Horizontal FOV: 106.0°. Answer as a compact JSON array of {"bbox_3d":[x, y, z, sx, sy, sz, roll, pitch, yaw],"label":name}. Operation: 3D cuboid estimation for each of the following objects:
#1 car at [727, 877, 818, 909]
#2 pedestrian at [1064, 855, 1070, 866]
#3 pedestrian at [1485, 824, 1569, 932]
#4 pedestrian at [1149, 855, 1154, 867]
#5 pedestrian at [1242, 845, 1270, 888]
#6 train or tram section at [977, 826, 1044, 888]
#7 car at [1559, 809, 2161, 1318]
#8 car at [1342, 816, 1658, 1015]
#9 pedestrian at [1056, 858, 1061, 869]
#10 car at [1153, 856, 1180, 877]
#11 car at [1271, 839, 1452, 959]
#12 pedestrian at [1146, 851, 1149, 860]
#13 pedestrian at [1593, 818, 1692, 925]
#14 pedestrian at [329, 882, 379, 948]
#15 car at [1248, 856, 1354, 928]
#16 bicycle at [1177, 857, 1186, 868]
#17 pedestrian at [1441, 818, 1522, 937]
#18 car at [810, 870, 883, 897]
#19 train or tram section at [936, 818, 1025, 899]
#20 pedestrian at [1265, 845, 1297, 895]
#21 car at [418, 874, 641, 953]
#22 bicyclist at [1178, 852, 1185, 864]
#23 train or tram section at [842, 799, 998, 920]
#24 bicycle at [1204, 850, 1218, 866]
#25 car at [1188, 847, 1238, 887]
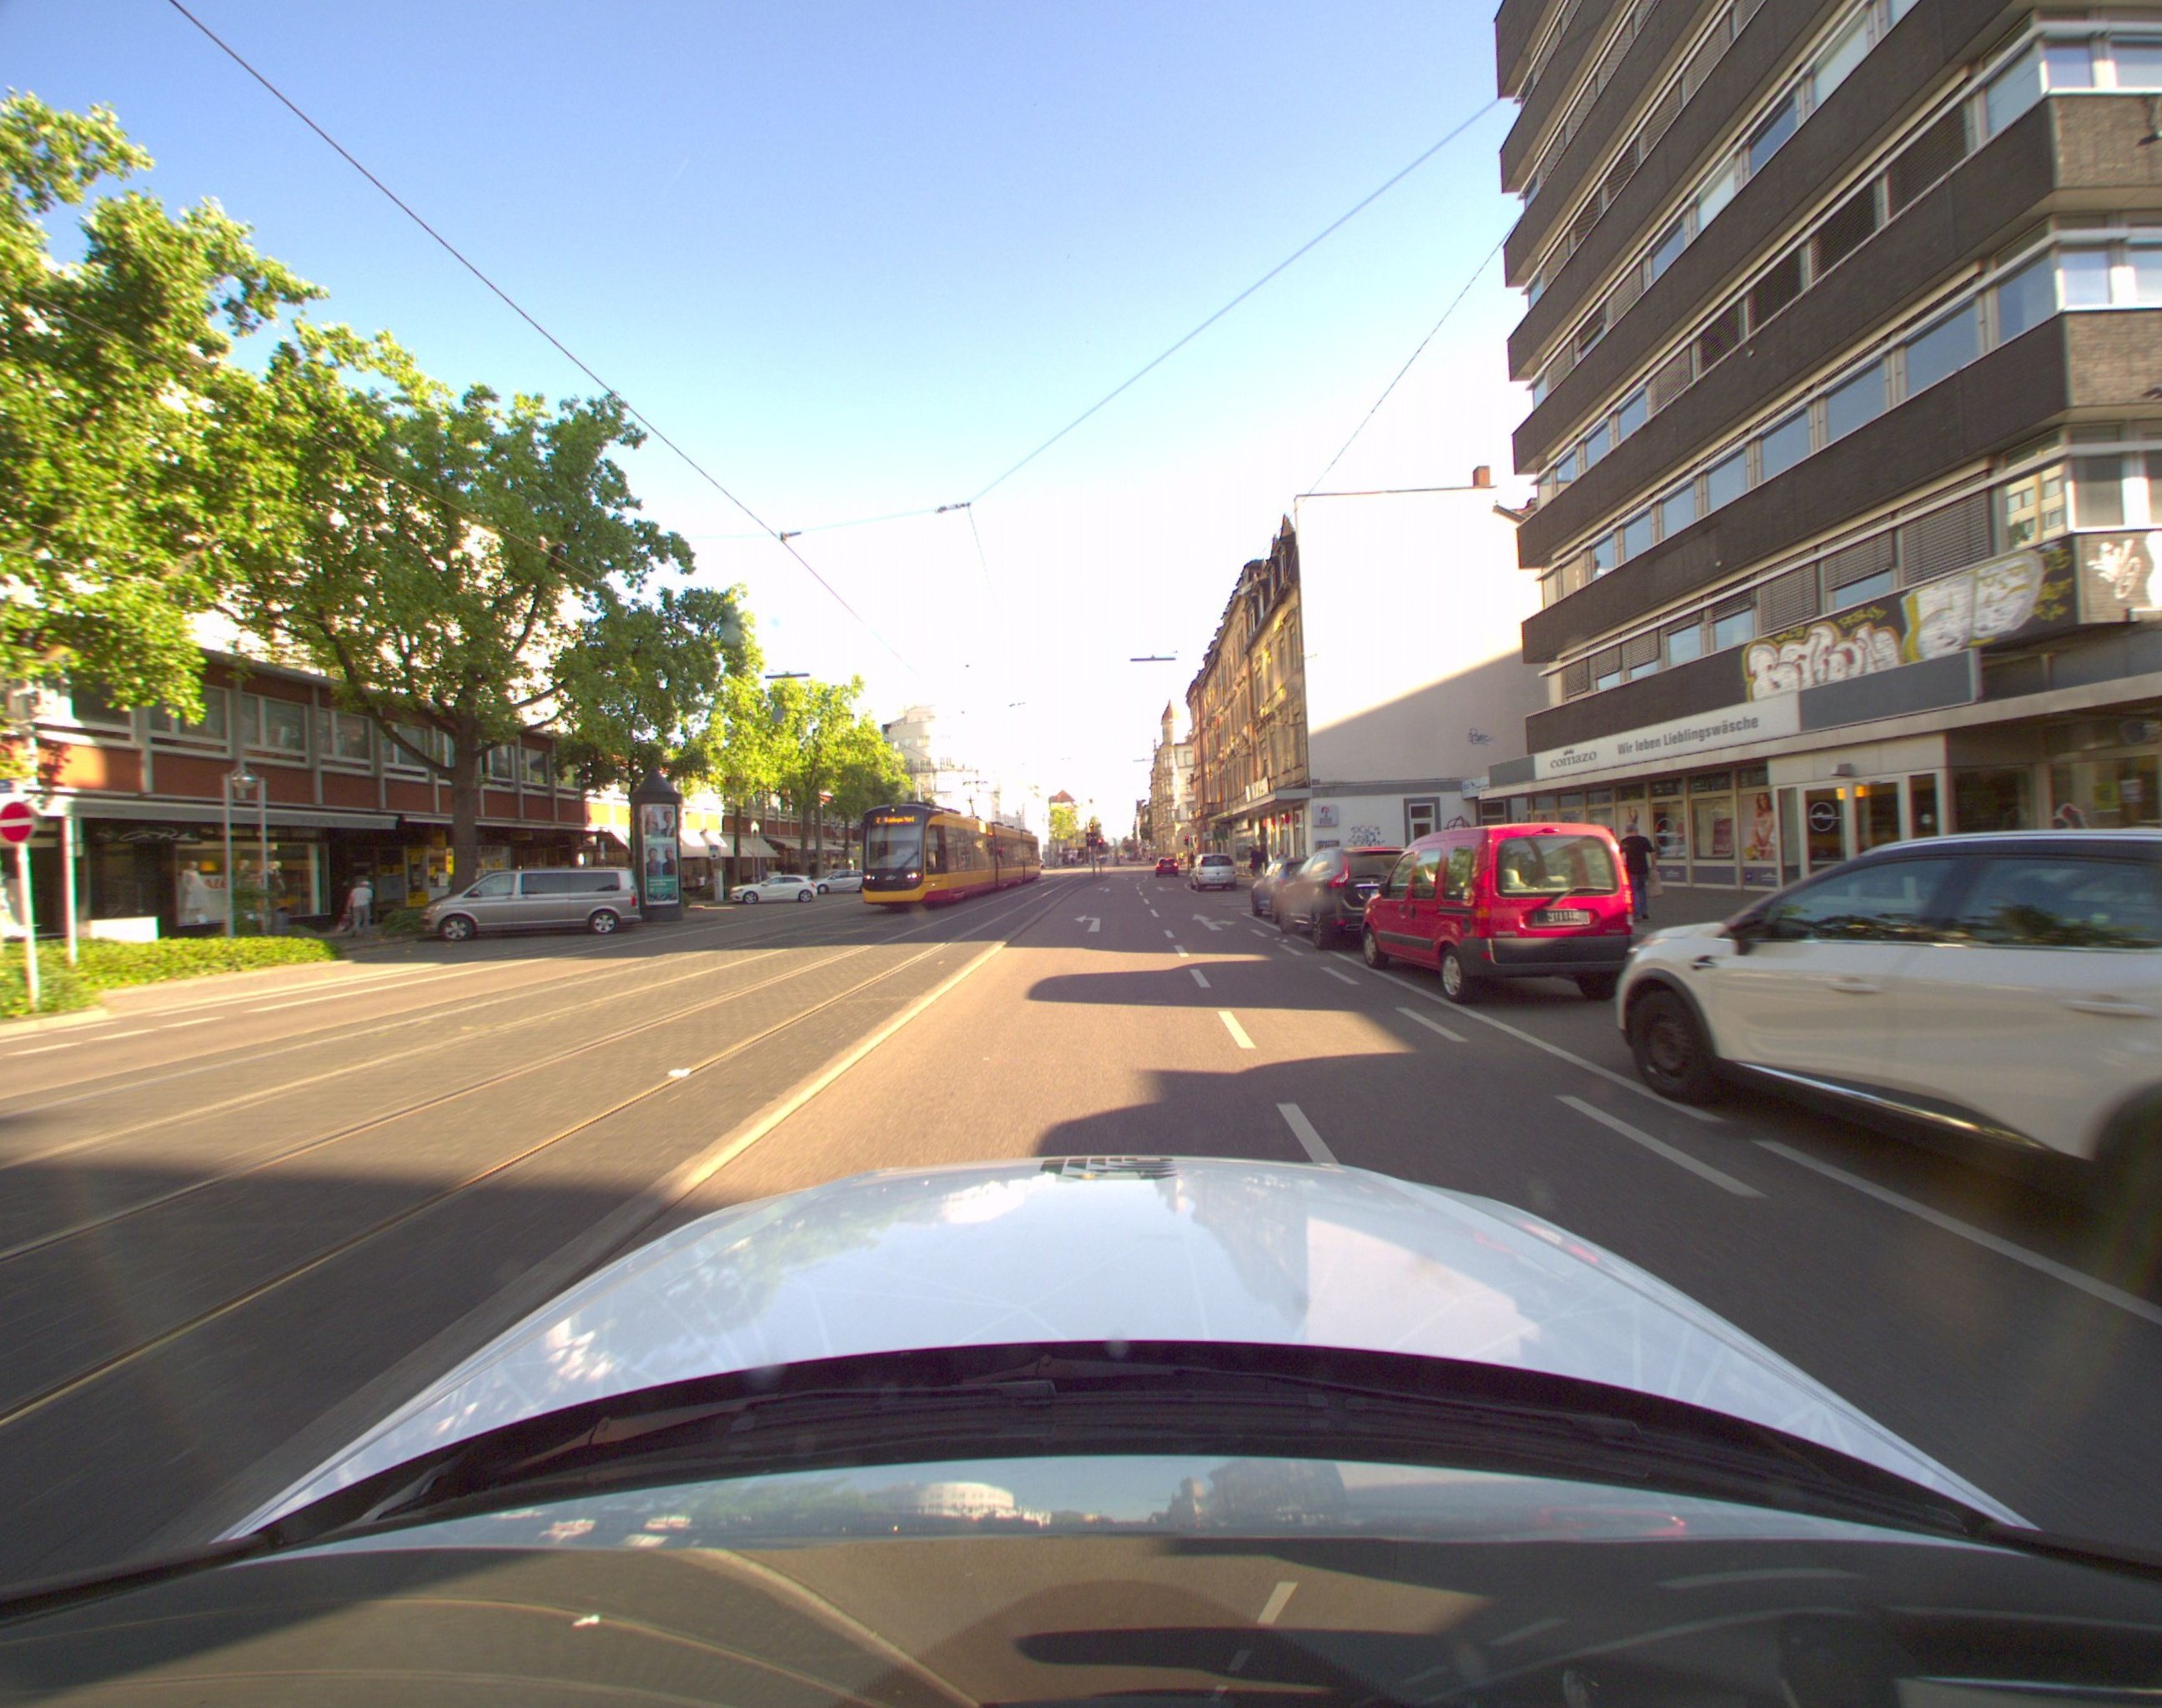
[{"bbox_3d":[-16.085,2.007,42.484,4.280,1.429,1.750,-1,0,-28],"label":"car"},{"bbox_3d":[-2.751,1.298,159.190,0.952,2.013,1.049,-3,0,3],"label":"pedestrian"},{"bbox_3d":[7.668,0.399,14.048,0.807,1.756,1.033,-3,0,2],"label":"pedestrian"},{"bbox_3d":[11.993,1.120,138.435,0.649,2.013,0.760,-3,0,2],"label":"pedestrian"},{"bbox_3d":[7.766,0.541,36.163,0.943,1.792,1.055,-4,0,2],"label":"pedestrian"},{"bbox_3d":[-4.461,0.164,54.888,2.665,3.550,12.849,-3,0,2],"label":"train or tram section"},{"bbox_3d":[4.335,0.637,3.849,1.779,1.596,4.330,-2,-1,3],"label":"car"},{"bbox_3d":[4.587,0.583,9.724,1.669,1.808,4.250,-2,0,2],"label":"car"},{"bbox_3d":[-3.630,1.532,131.246,0.765,1.730,0.573,-3,0,5],"label":"pedestrian"},{"bbox_3d":[6.586,0.922,62.876,1.748,1.466,3.946,-1,0,1],"label":"car"},{"bbox_3d":[4.751,0.667,14.527,1.813,1.757,4.478,-2,0,2],"label":"car"},{"bbox_3d":[14.123,0.327,173.194,0.574,2.013,0.632,-3,0,9],"label":"pedestrian"},{"bbox_3d":[9.766,0.290,14.218,0.897,1.713,1.033,-5,0,2],"label":"pedestrian"},{"bbox_3d":[-21.884,1.827,24.507,0.888,1.877,0.925,-3,0,39],"label":"pedestrian"},{"bbox_3d":[5.213,0.850,19.786,1.631,1.492,3.796,-1,1,1],"label":"car"},{"bbox_3d":[11.248,0.953,91.096,0.417,1.096,1.422,-4,0,33],"label":"bicycle"},{"bbox_3d":[6.798,0.382,13.878,0.790,1.899,1.033,-3,0,2],"label":"pedestrian"},{"bbox_3d":[-15.393,1.928,53.416,4.291,1.566,1.810,-2,-1,-29],"label":"car"},{"bbox_3d":[-4.987,0.180,42.877,2.665,3.550,11.133,-3,0,2],"label":"train or tram section"},{"bbox_3d":[7.308,0.585,29.756,0.784,1.737,0.946,-6,-1,2],"label":"pedestrian"},{"bbox_3d":[-15.594,1.608,23.448,5.136,1.929,1.836,-1,-1,-29],"label":"car"},{"bbox_3d":[11.250,0.446,91.144,0.417,1.409,0.663,-3,0,33],"label":"bicyclist"},{"bbox_3d":[-5.550,0.159,31.062,2.747,3.550,12.475,-3,0,2],"label":"train or tram section"},{"bbox_3d":[10.250,0.282,64.124,0.709,1.152,1.664,-5,0,21],"label":"bicycle"},{"bbox_3d":[5.863,0.542,36.470,1.632,1.615,3.946,-2,0,1],"label":"car"}]
